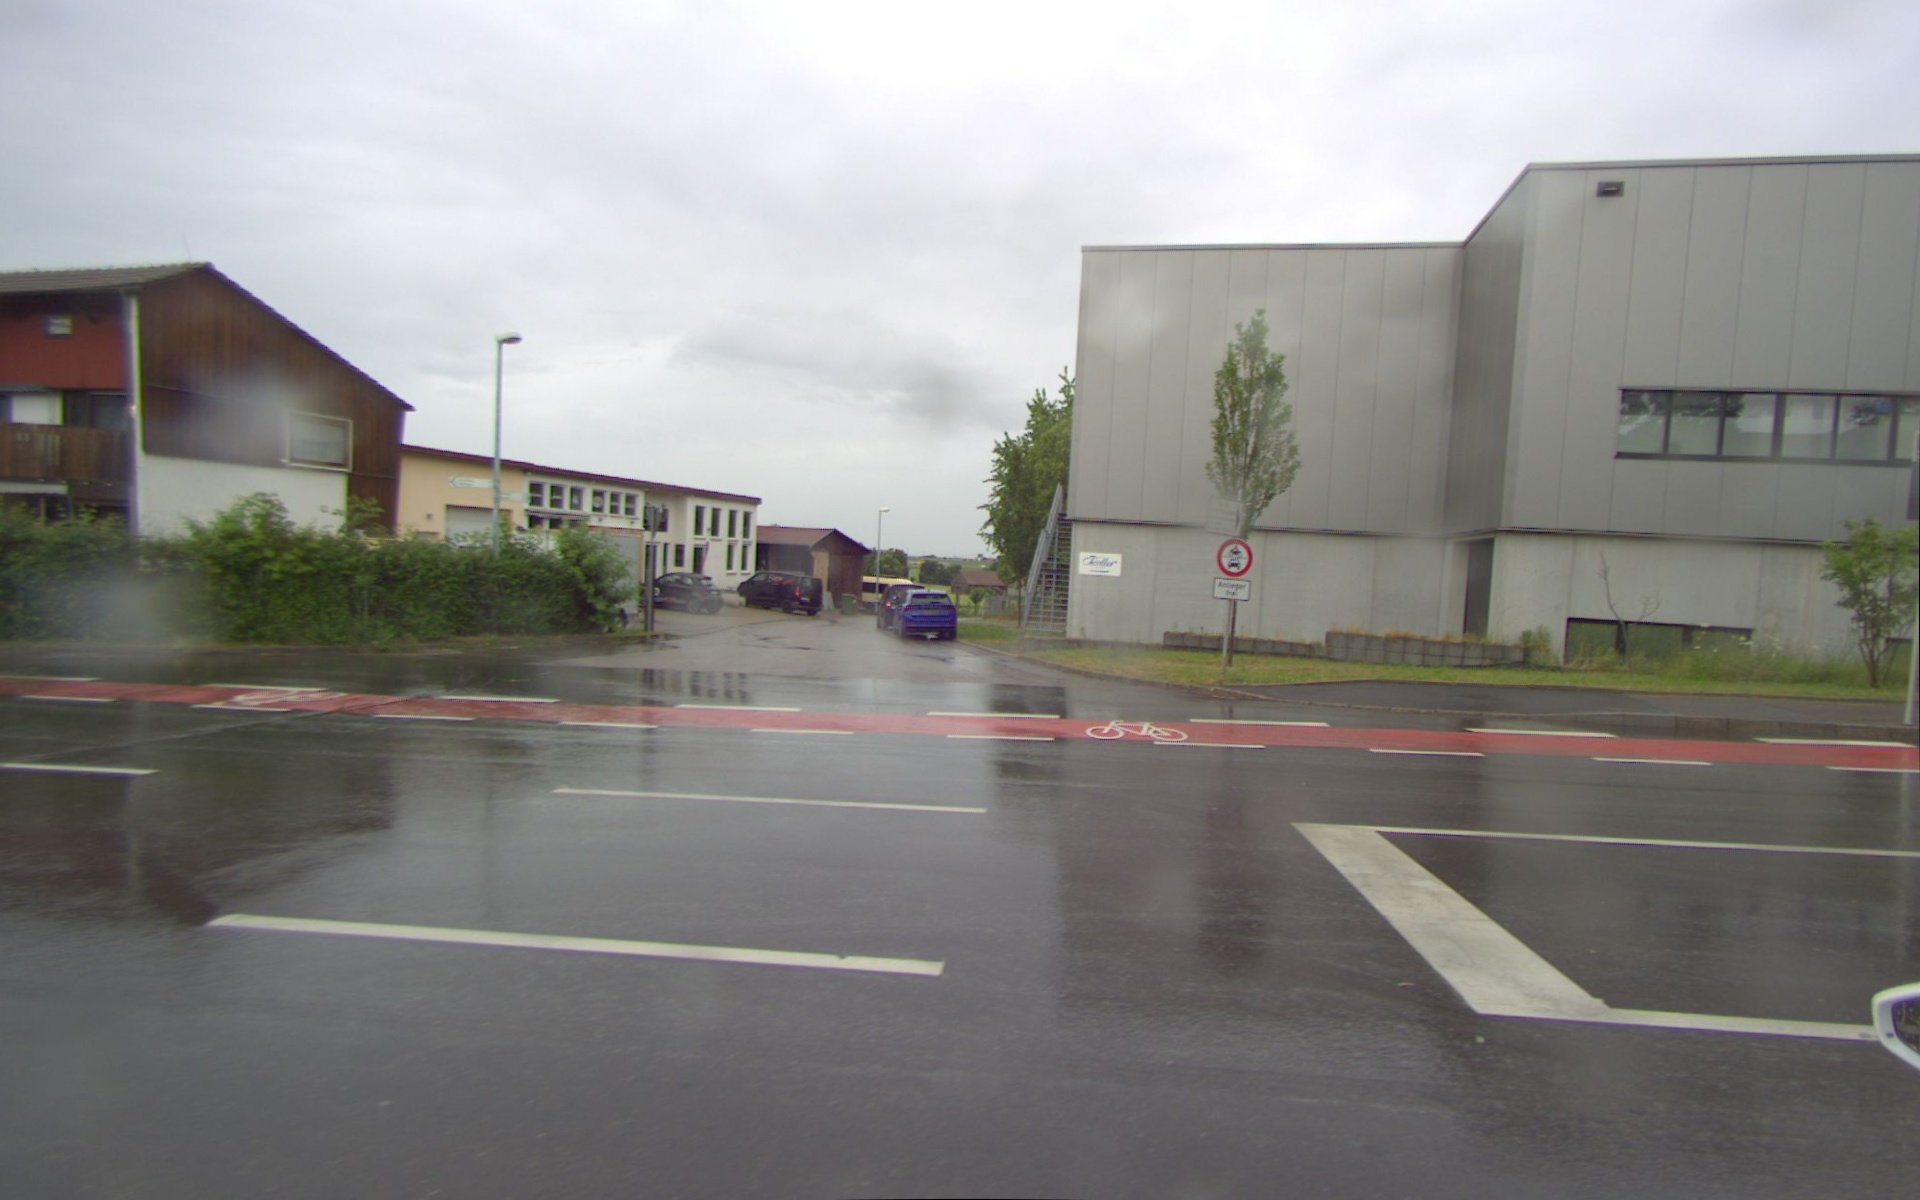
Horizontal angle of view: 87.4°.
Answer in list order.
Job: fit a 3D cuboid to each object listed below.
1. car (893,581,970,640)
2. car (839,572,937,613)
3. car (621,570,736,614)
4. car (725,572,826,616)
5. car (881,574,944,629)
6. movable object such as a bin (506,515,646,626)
[{"bbox_3d":[-0.971,0.309,31.475,1.922,1.631,4.441,2,0,-7],"label":"car"},{"bbox_3d":[-4.796,-0.503,66.694,5.909,2.447,2.464,2,0,19],"label":"car"},{"bbox_3d":[-11.262,-0.313,40.265,3.920,1.576,2.001,2,0,17],"label":"car"},{"bbox_3d":[-8.903,-0.270,48.540,4.322,1.930,2.000,2,0,18],"label":"car"},{"bbox_3d":[-1.862,0.076,37.710,2.042,1.859,4.466,2,0,-6],"label":"car"},{"bbox_3d":[-9.708,-0.685,25.652,1.703,2.590,3.342,2,0,12],"label":"movable object such as a bin"}]
